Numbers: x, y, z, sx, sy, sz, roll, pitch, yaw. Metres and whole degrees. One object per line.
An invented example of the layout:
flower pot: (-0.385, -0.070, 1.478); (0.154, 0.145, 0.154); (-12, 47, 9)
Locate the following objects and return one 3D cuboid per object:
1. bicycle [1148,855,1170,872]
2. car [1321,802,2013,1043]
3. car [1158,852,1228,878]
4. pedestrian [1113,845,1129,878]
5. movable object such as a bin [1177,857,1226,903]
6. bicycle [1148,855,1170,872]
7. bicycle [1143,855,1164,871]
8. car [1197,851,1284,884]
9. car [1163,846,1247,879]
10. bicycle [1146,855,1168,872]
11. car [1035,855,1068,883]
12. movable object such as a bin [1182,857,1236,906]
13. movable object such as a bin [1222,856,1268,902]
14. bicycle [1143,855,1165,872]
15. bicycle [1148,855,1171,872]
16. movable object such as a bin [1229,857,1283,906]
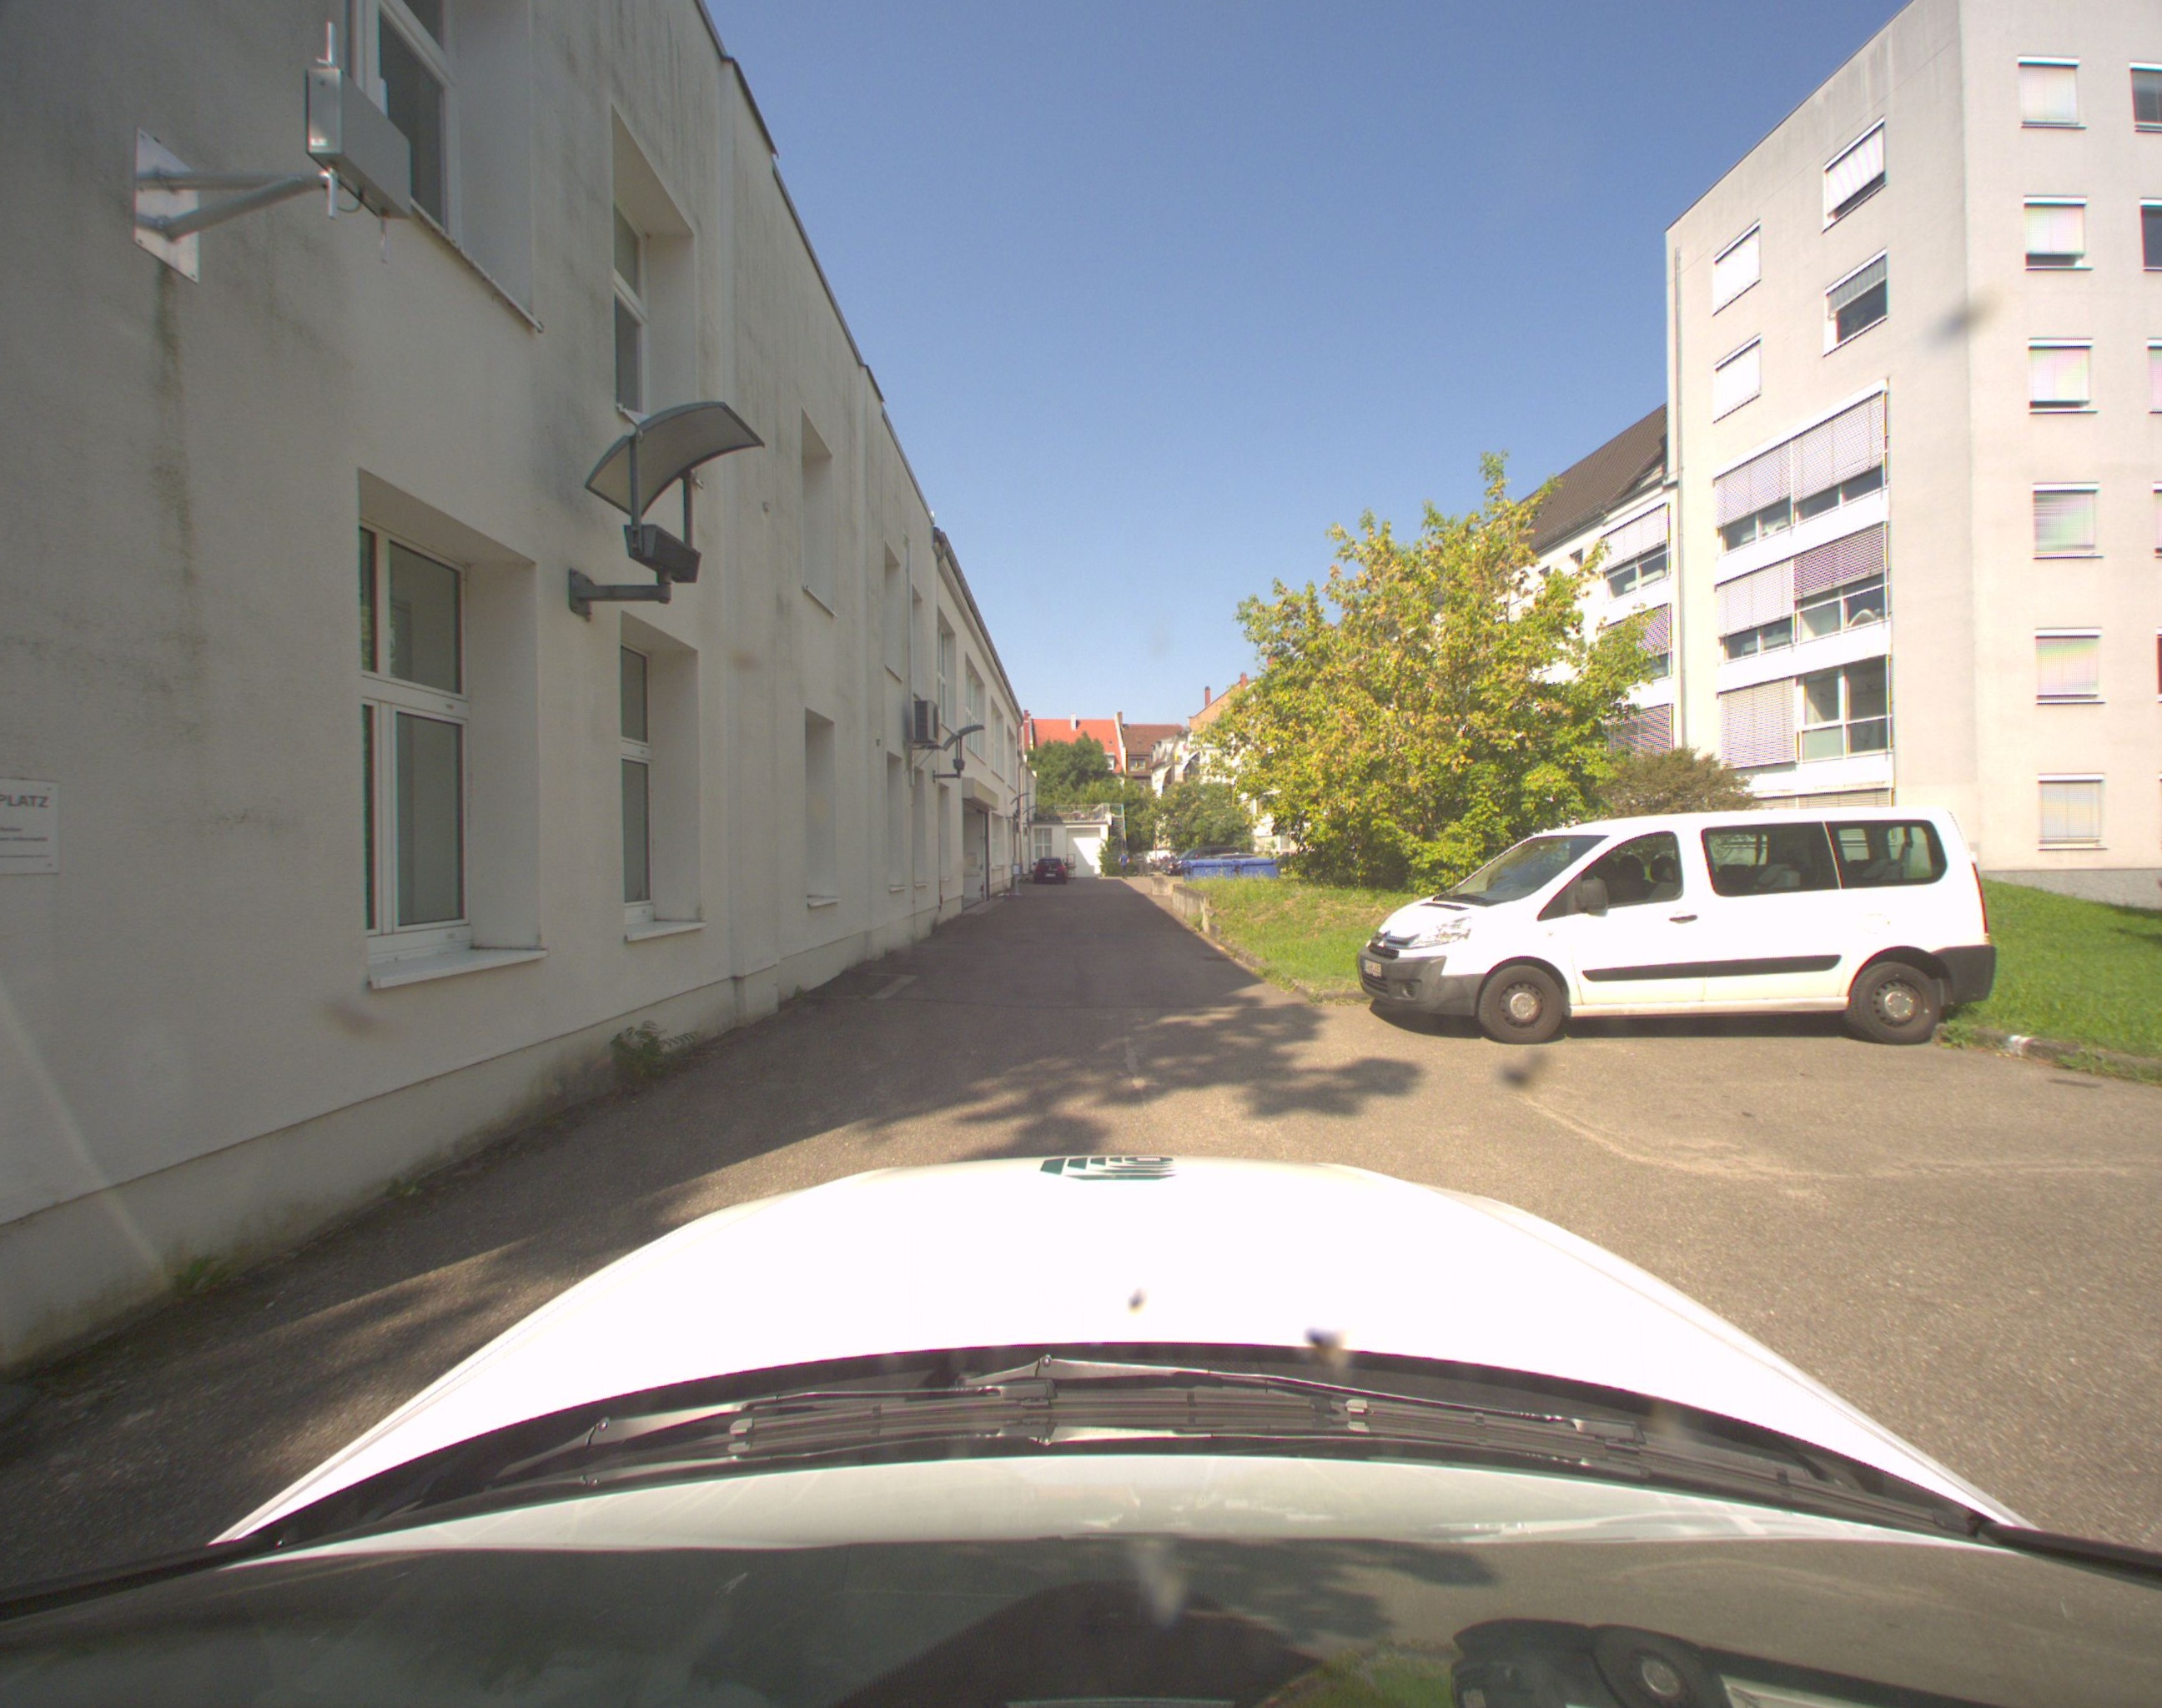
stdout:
bicycle: (5.829, 0.708, 60.883); (1.617, 1.214, 0.327); (-2, 0, 1)
car: (4.976, 0.552, 7.565); (4.938, 1.921, 2.044); (0, -1, 1)
car: (6.860, 0.664, 50.203); (3.931, 1.482, 1.769); (-1, -1, -10)
pedestrian: (2.446, 0.467, 49.670); (0.911, 2.014, 0.934); (0, -1, 0)
movable object such as a bin: (3.635, 0.765, 24.705); (1.296, 1.340, 1.194); (0, -1, -1)
bicycle: (5.869, 0.713, 61.499); (1.617, 1.214, 0.327); (-2, 0, 1)
bicycle: (5.727, 0.737, 64.226); (1.620, 1.214, 0.423); (-2, 0, -5)
car: (7.871, 0.662, 40.305); (3.856, 1.589, 1.876); (0, -1, -6)
car: (7.180, 0.478, 47.323); (4.500, 1.794, 1.877); (-1, -1, -10)
bicycle: (5.829, 0.720, 62.314); (1.612, 1.214, 0.328); (-2, 0, 12)
car: (-1.568, 0.805, 44.098); (1.684, 1.459, 3.920); (0, -1, -2)
movable object such as a bin: (3.592, 0.769, 22.952); (1.306, 1.340, 1.099); (0, -1, -3)
movable object such as a bin: (4.957, 0.738, 24.676); (1.229, 1.340, 1.118); (0, -1, 3)
bicycle: (5.644, 0.728, 62.989); (1.618, 1.214, 0.424); (-2, 0, -1)
bicycle: (5.897, 0.711, 61.205); (1.617, 1.214, 0.327); (-2, 0, 1)
movable object such as a bin: (4.919, 0.760, 22.958); (1.224, 1.340, 1.075); (0, -1, -5)
